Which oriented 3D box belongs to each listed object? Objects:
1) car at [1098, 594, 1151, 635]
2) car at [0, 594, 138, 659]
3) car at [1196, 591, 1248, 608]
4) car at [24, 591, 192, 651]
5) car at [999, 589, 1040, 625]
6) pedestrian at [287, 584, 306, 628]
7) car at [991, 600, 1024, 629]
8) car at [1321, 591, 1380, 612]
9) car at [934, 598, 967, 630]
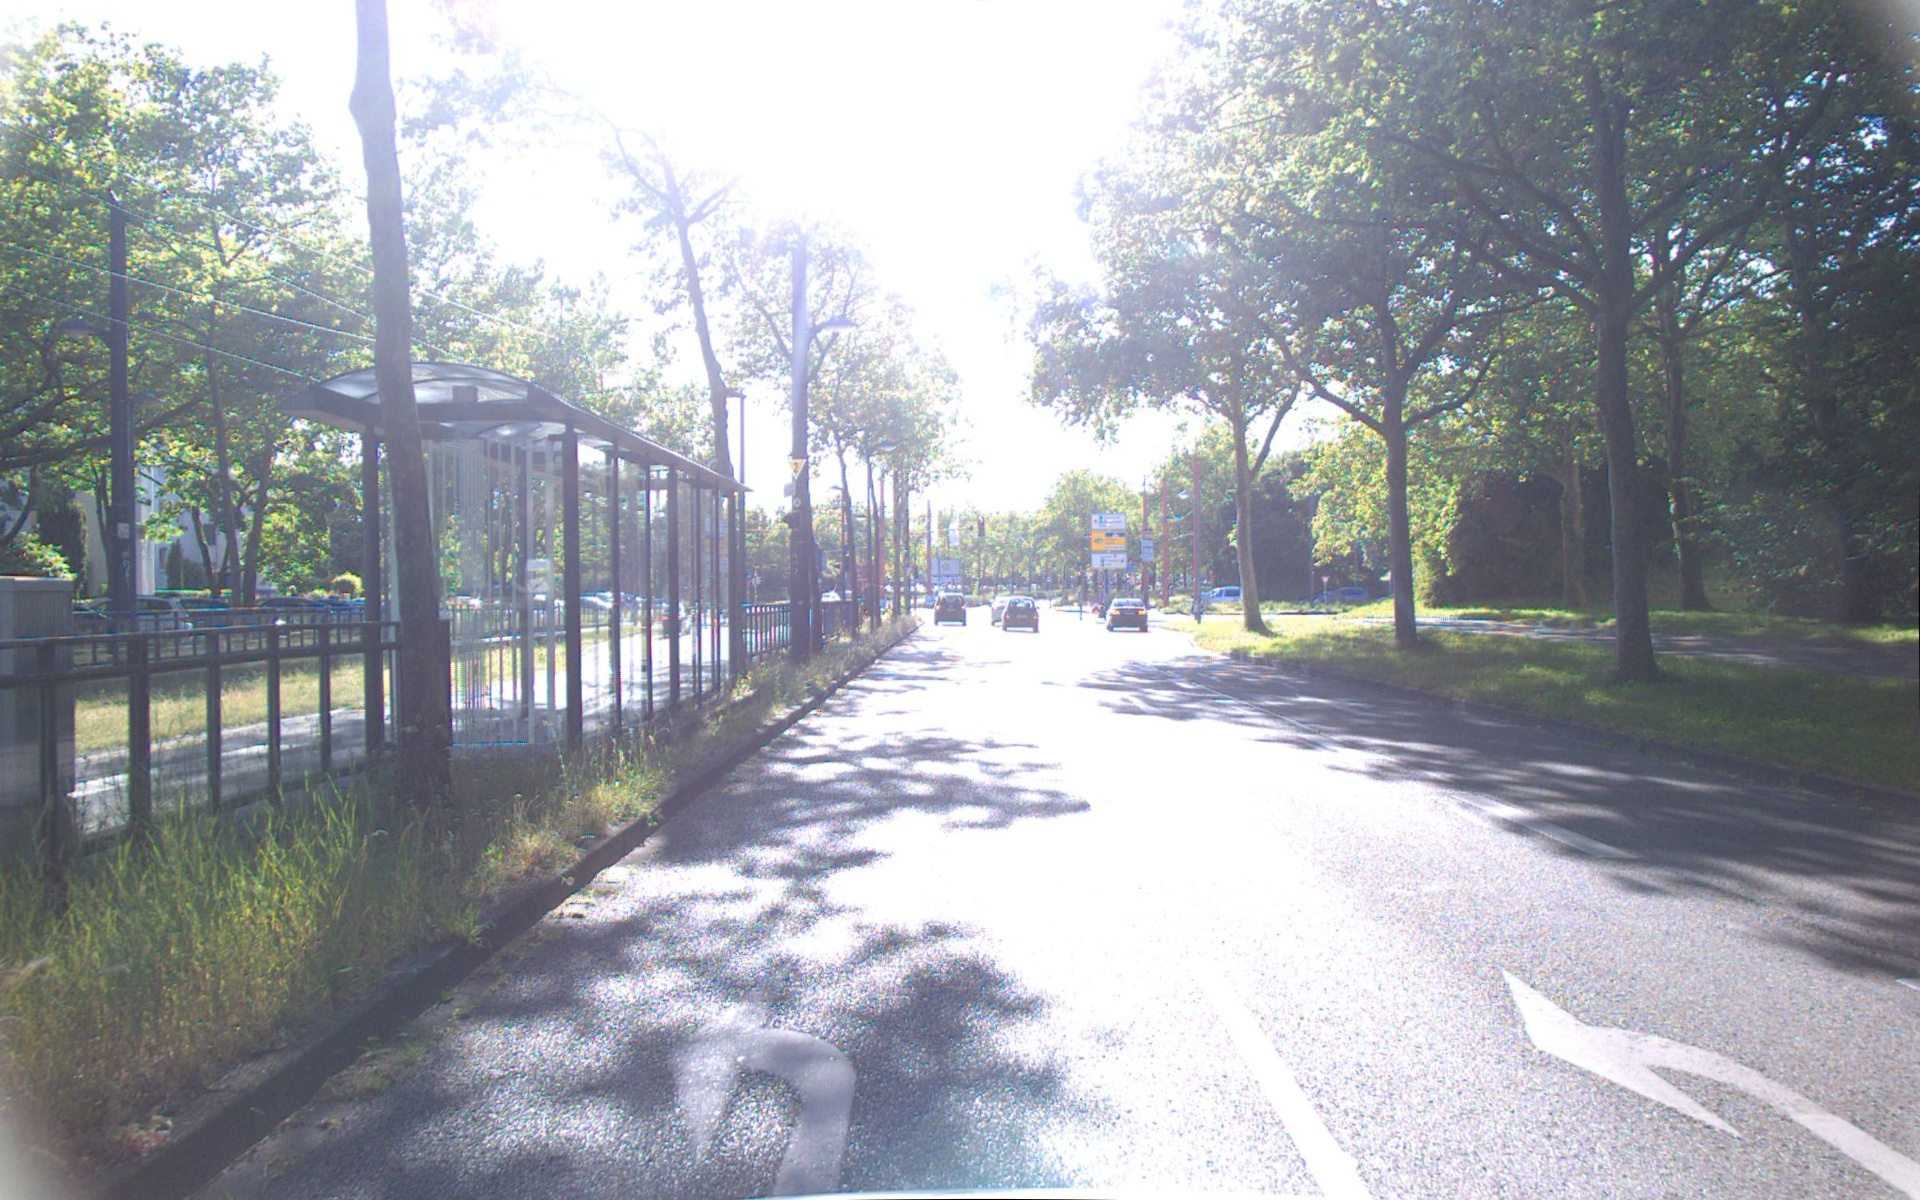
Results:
[{"bbox_3d":[7.548,0.654,76.210,1.941,1.823,4.613,1,0,-1],"label":"car"},{"bbox_3d":[-23.664,0.668,42.659,1.616,1.571,4.152,1,1,40],"label":"car"},{"bbox_3d":[21.603,-0.029,136.207,3.908,1.361,1.727,1,0,26],"label":"car"},{"bbox_3d":[-23.964,0.561,46.587,3.960,1.571,1.621,0,1,-42],"label":"car"},{"bbox_3d":[2.666,0.305,74.778,1.605,1.520,3.502,1,1,-1],"label":"car"},{"bbox_3d":[-27.309,0.248,68.072,0.466,1.823,0.717,1,0,-1],"label":"pedestrian"},{"bbox_3d":[2.463,0.752,86.981,1.644,1.501,4.131,1,0,1],"label":"car"},{"bbox_3d":[31.004,0.100,131.428,4.264,1.586,1.871,1,0,25],"label":"car"},{"bbox_3d":[-0.507,0.723,86.319,1.676,1.631,3.349,0,0,-1],"label":"car"}]
